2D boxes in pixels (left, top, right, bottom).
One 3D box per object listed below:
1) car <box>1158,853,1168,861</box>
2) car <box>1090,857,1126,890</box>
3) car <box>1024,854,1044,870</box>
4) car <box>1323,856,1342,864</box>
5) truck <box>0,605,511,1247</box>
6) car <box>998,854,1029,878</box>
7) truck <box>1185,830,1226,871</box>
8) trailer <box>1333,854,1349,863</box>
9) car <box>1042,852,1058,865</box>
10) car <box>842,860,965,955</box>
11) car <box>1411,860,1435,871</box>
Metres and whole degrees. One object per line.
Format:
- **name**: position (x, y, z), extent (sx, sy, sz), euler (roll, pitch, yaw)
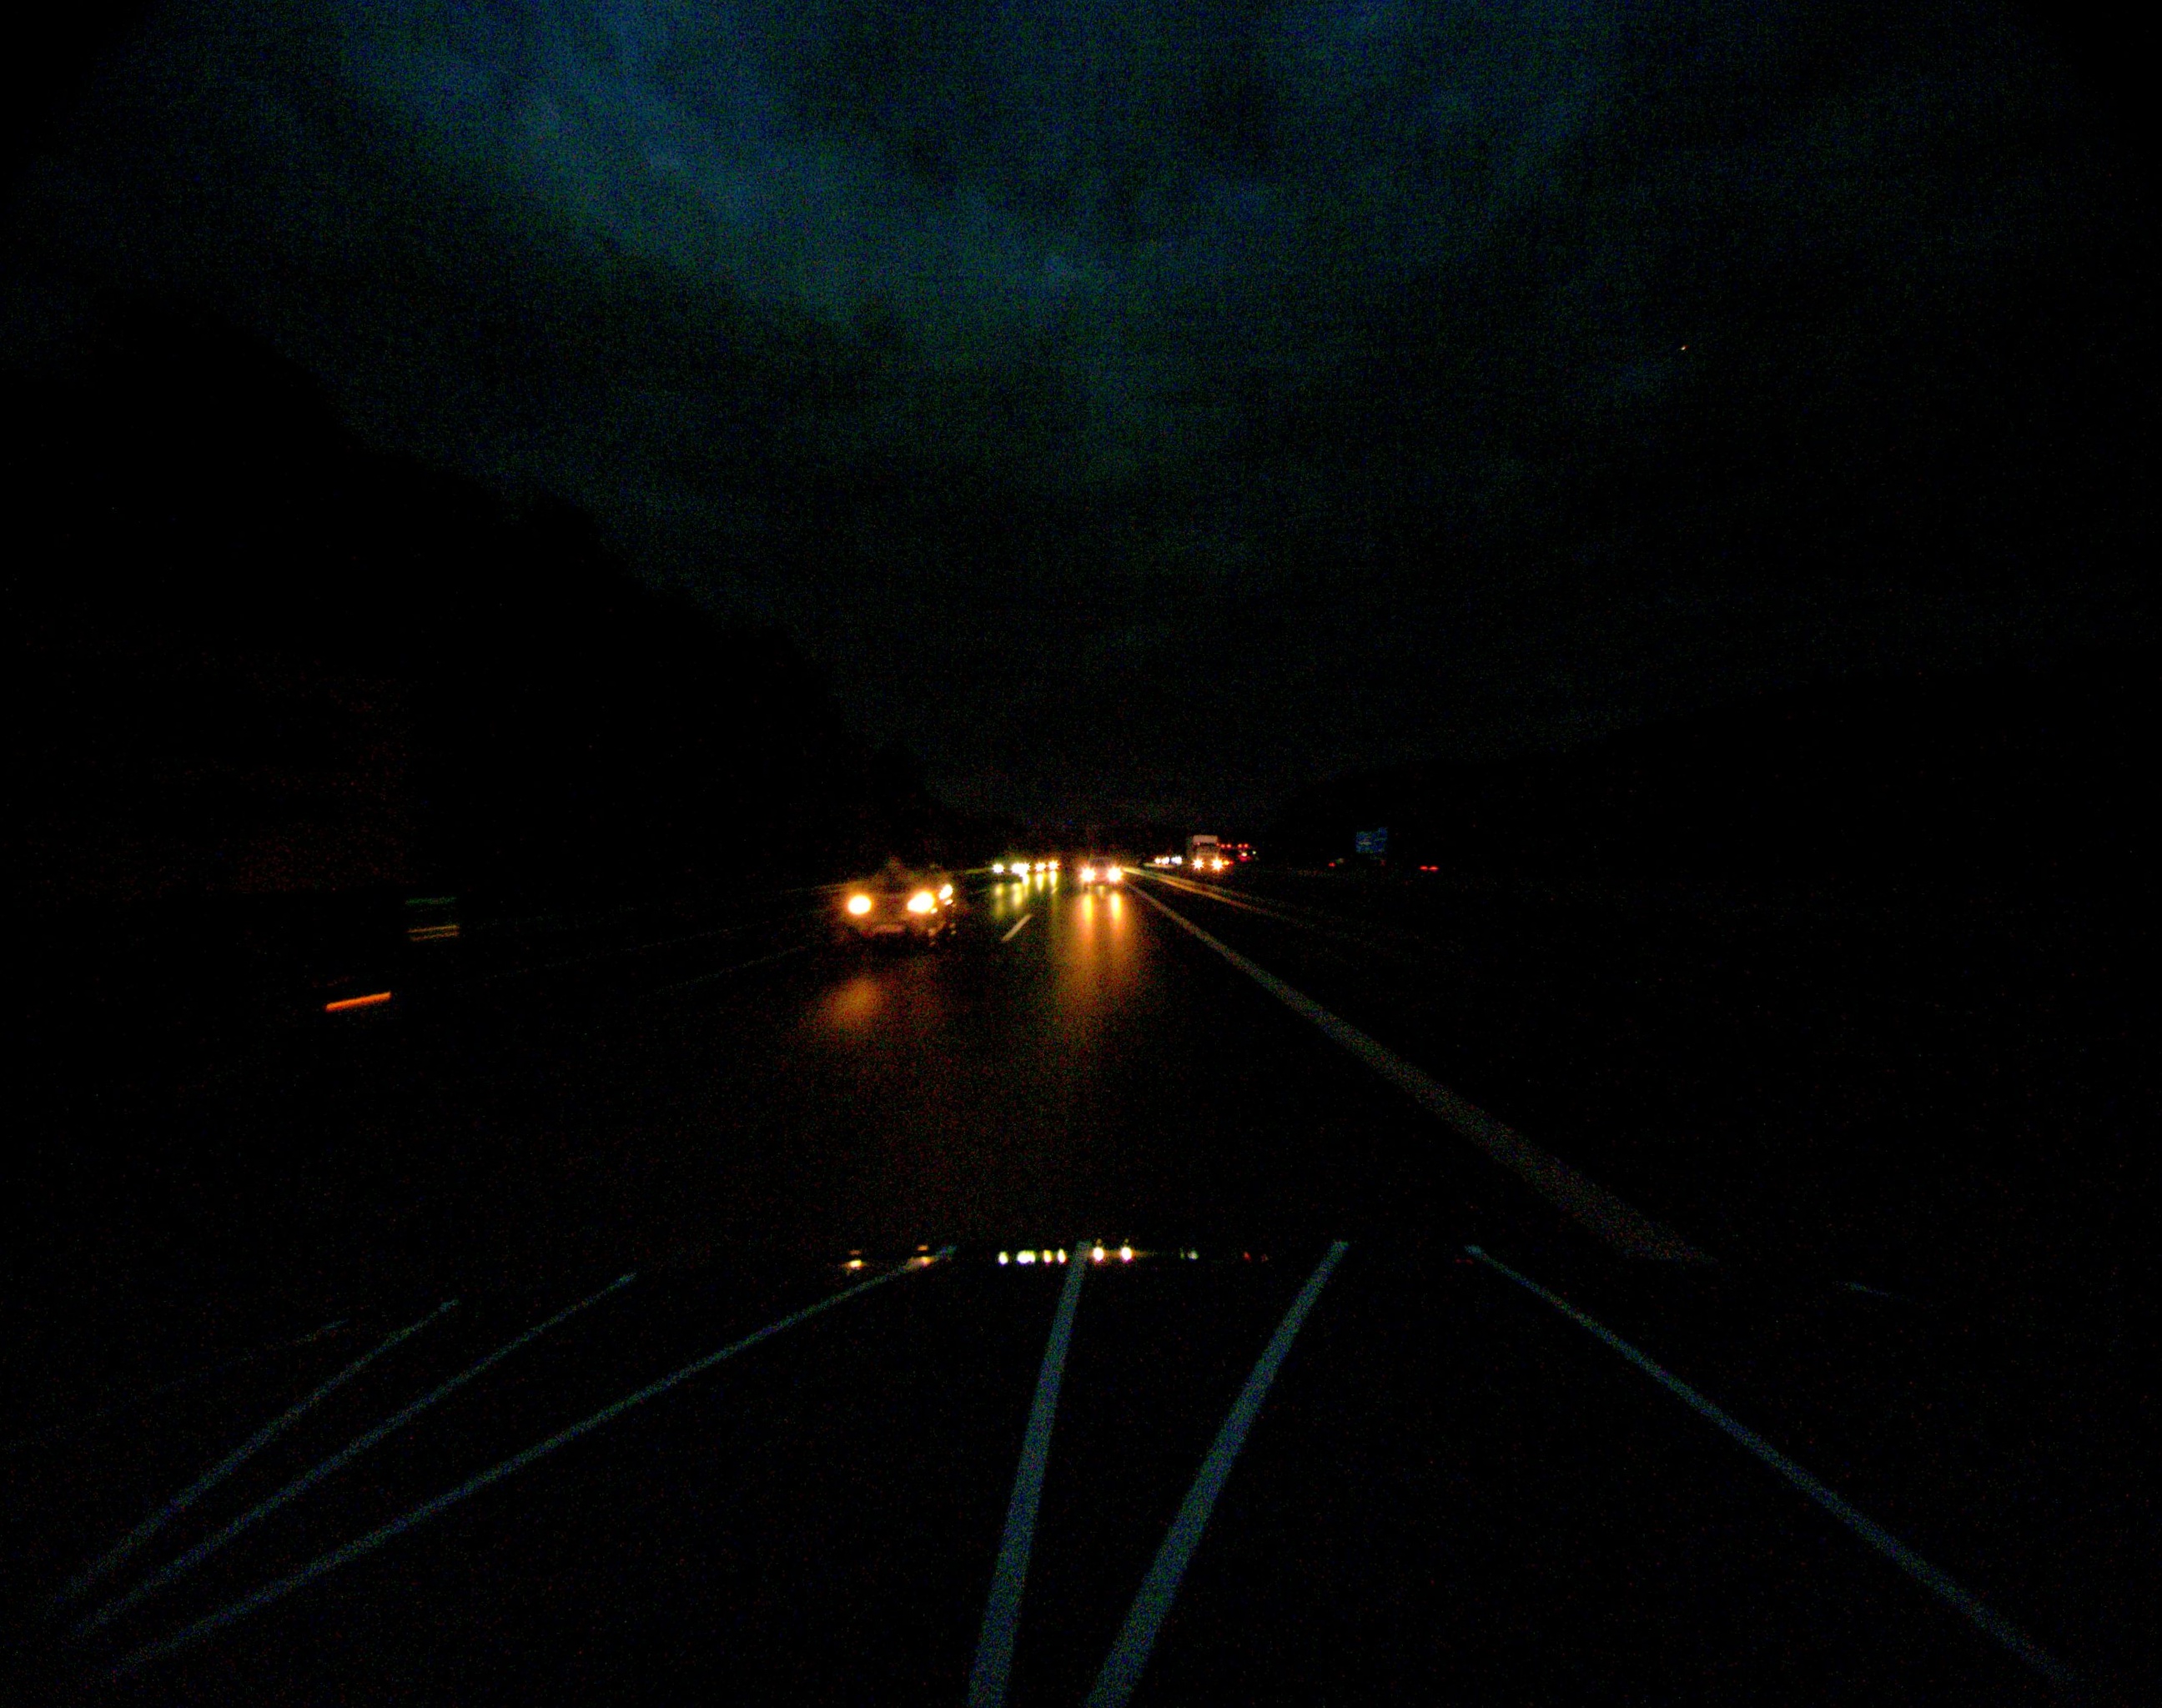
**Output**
- **car**: position (18.440, 0.589, 171.804), extent (1.833, 1.674, 4.228), euler (-2, 0, 1)
- **car**: position (1.304, 0.916, 37.445), extent (1.669, 1.551, 3.756), euler (0, 0, 1)
- **car**: position (-4.766, 0.767, 77.577), extent (1.803, 1.483, 5.116), euler (-2, 0, -2)
- **car**: position (46.320, 1.019, 139.974), extent (1.841, 1.434, 4.466), euler (0, 0, -2)
- **truck**: position (-6.117, 0.355, 3.259), extent (2.274, 2.954, 6.631), euler (-2, 0, -1)
- **car**: position (-4.919, 0.860, 55.955), extent (1.802, 1.636, 5.160), euler (1, 0, 0)
- **truck**: position (13.718, -0.380, 84.426), extent (3.046, 4.276, 9.890), euler (0, 1, 0)
- **trailer**: position (46.435, 0.841, 135.918), extent (1.539, 1.586, 3.599), euler (0, 0, -2)
- **car**: position (-3.826, 0.553, 94.736), extent (1.803, 1.483, 4.434), euler (-2, 0, -2)
- **car**: position (-3.291, 0.932, 14.648), extent (1.615, 1.547, 3.318), euler (0, 1, -1)
- **car**: position (52.771, 1.776, 117.407), extent (1.770, 1.586, 4.309), euler (0, 0, 0)
